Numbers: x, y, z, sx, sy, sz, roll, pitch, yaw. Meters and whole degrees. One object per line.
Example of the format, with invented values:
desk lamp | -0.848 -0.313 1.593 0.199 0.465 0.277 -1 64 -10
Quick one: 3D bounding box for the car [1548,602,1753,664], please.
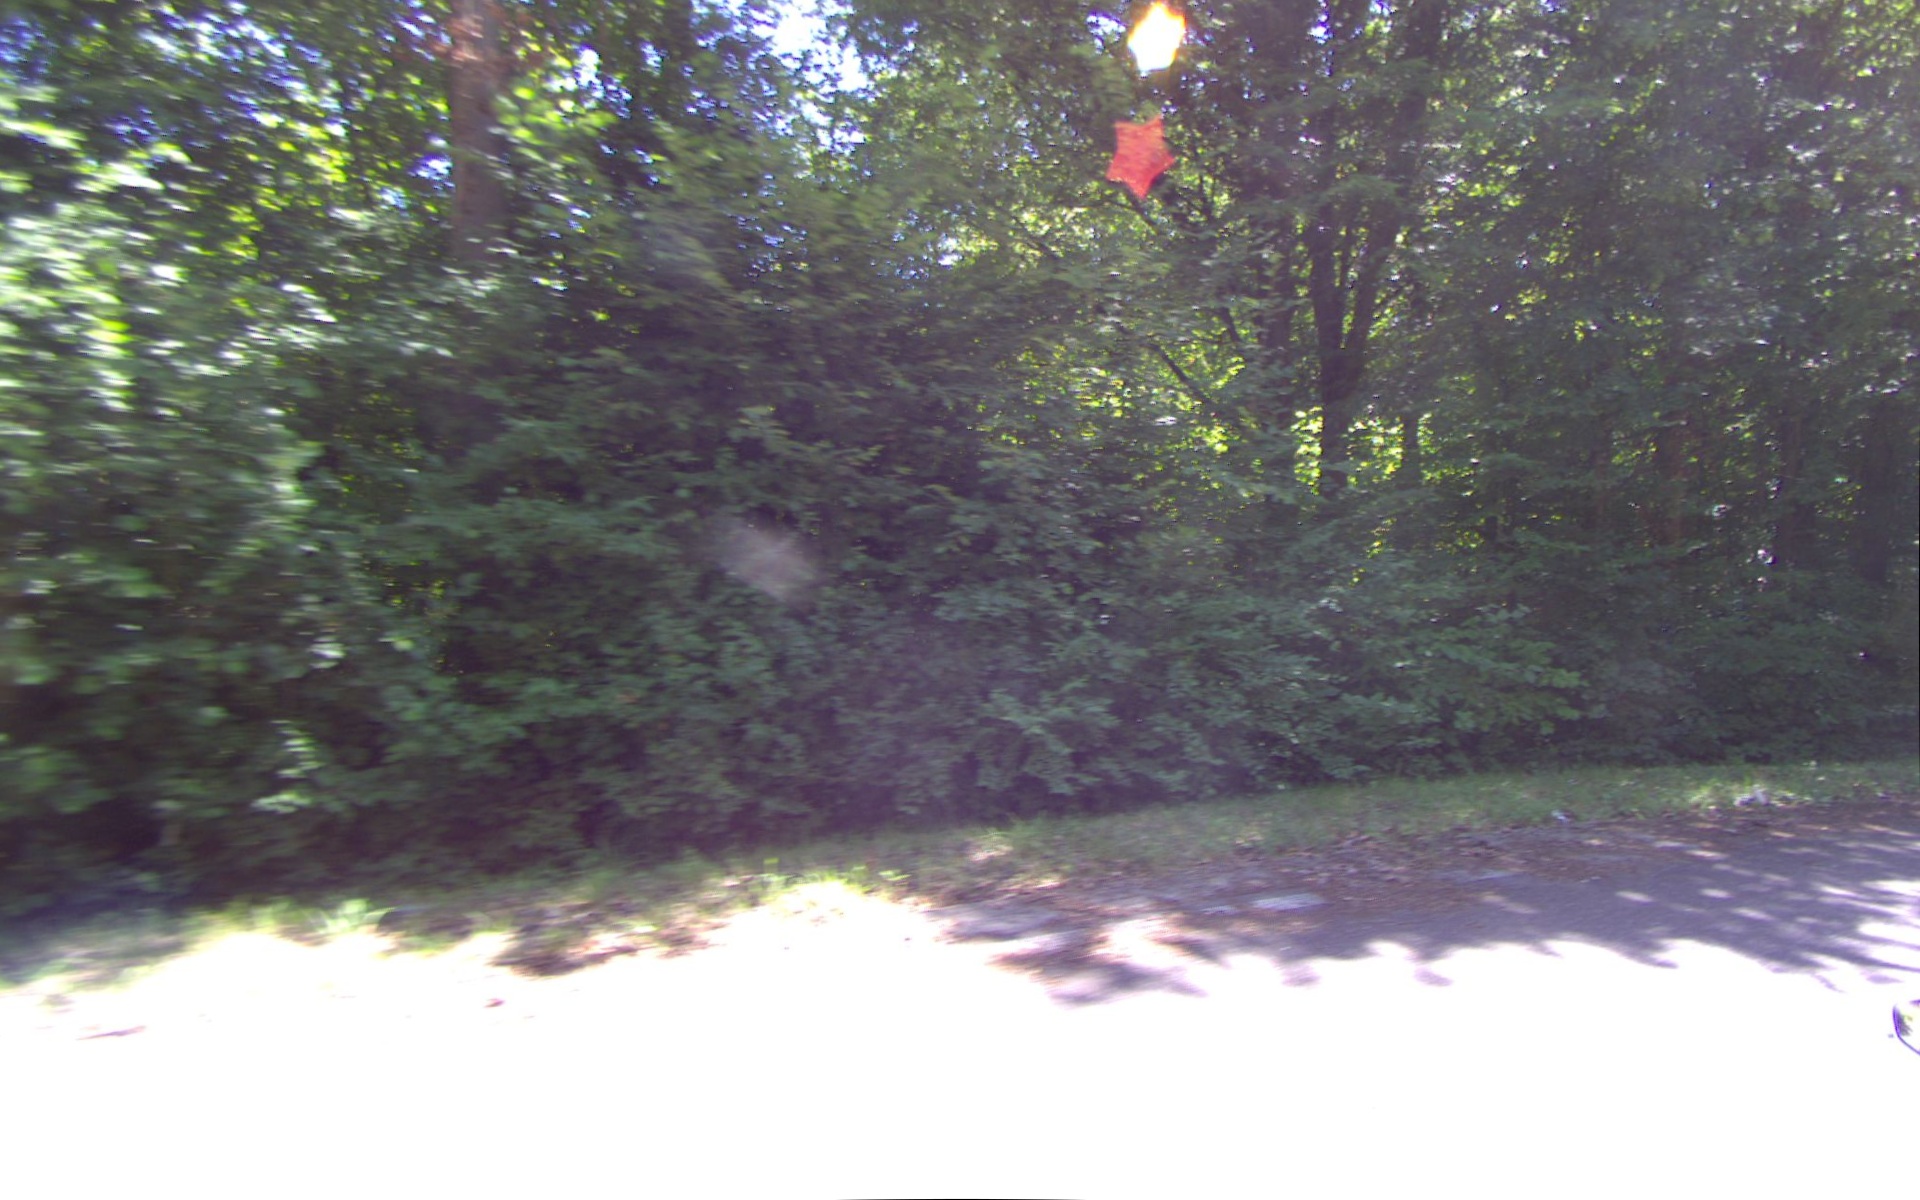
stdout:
car | 18.585 0.845 27.273 4.461 1.472 1.756 0 2 33
